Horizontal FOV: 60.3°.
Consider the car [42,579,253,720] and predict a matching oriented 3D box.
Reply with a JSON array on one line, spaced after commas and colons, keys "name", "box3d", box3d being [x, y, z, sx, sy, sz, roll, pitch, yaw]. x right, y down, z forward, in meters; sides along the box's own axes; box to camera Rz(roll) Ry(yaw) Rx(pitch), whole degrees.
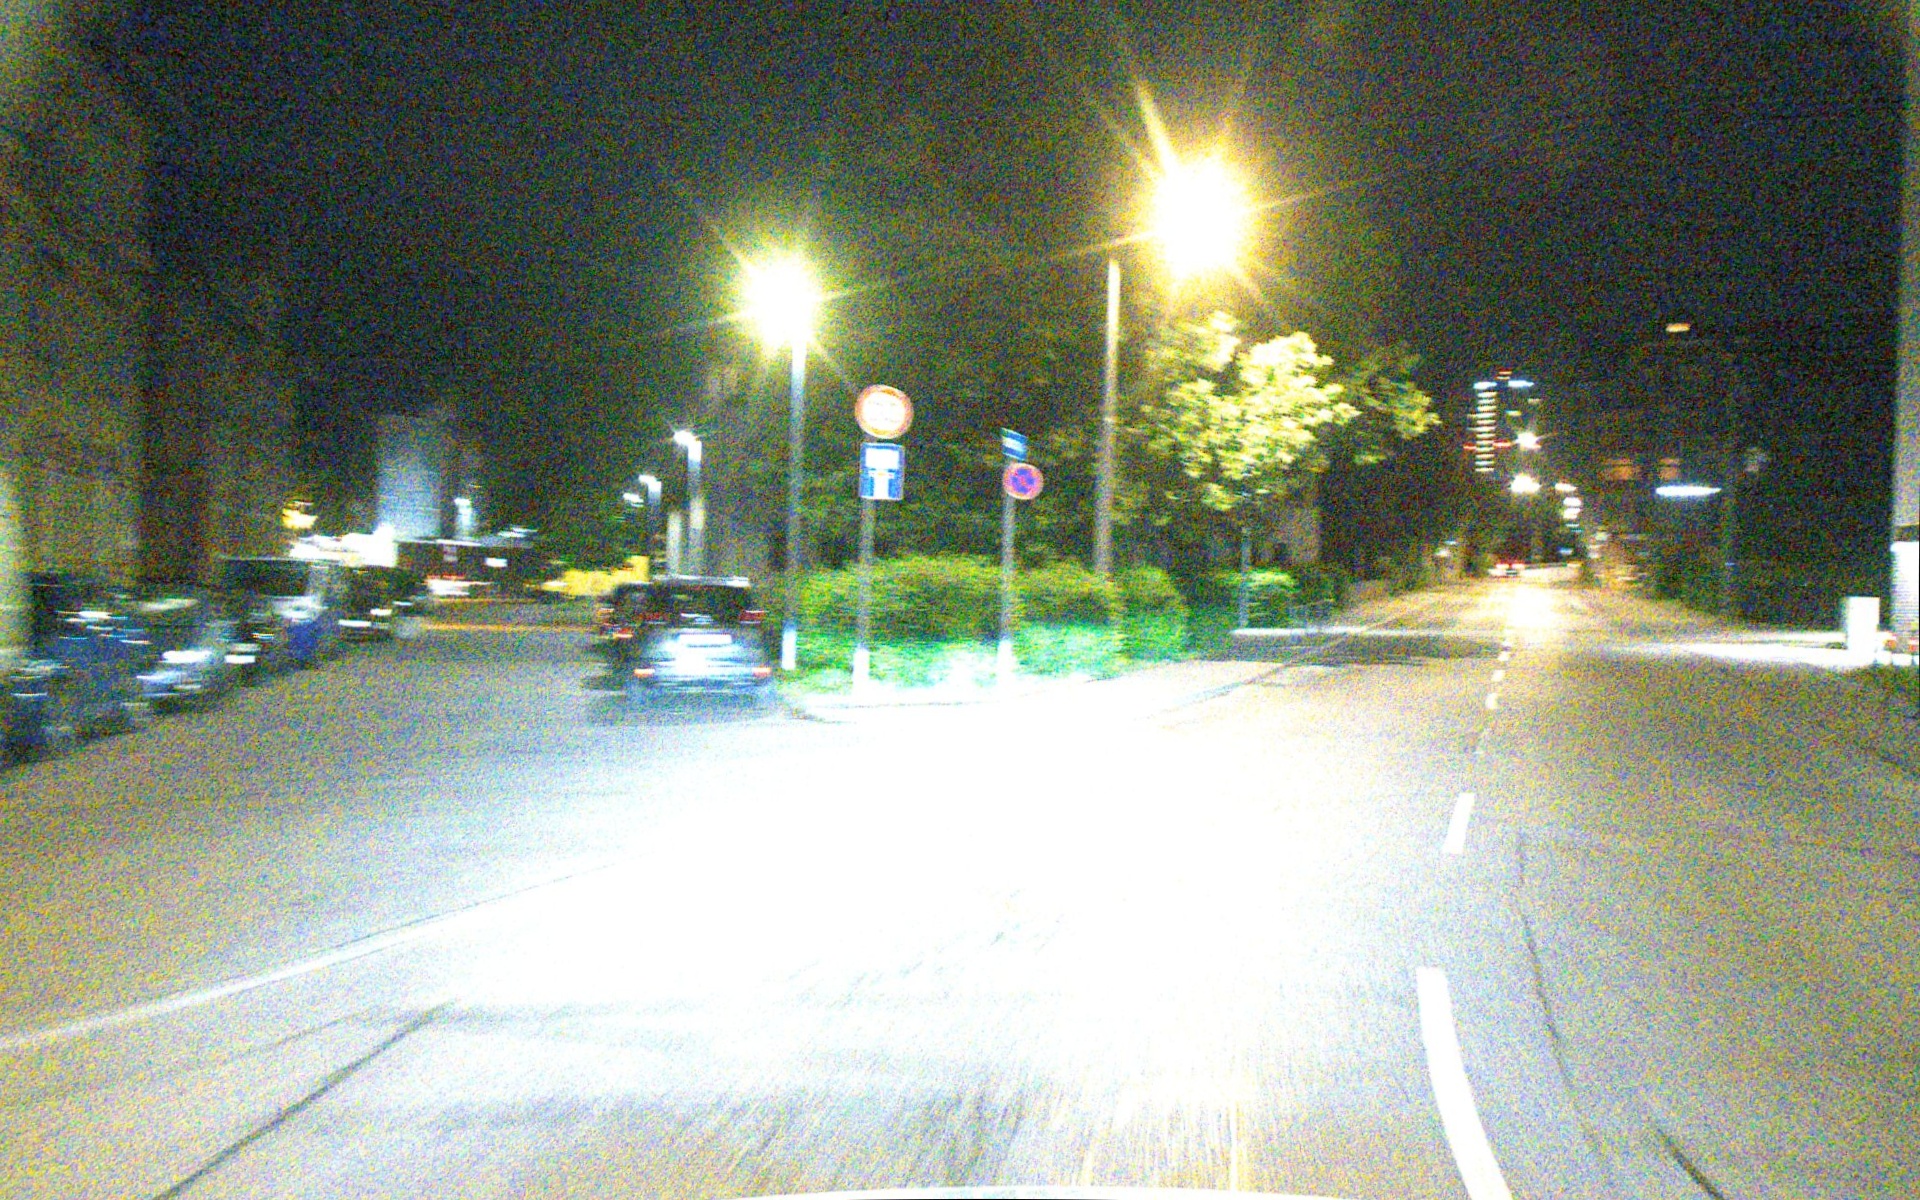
[{"name": "car", "box3d": [-9.946, 0.525, 20.579, 1.811, 1.533, 4.715, 0, 0, -20]}]

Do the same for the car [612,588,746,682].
[{"name": "car", "box3d": [-4.633, 0.531, 26.850, 1.929, 1.407, 3.987, 1, 0, -13]}]

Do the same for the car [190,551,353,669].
[{"name": "car", "box3d": [-12.525, 0.162, 30.377, 1.959, 1.989, 4.789, 1, 0, -13]}]

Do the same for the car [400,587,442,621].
[{"name": "car", "box3d": [-25.153, 0.183, 77.301, 1.580, 1.543, 3.793, 1, 0, -14]}]

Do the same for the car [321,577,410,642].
[{"name": "car", "box3d": [-15.168, 0.249, 42.361, 1.676, 1.536, 4.085, 2, -1, -14]}]

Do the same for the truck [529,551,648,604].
[{"name": "truck", "box3d": [-21.728, -1.315, 96.740, 6.667, 2.894, 1.991, 1, 0, -17]}]

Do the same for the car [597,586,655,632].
[{"name": "car", "box3d": [-11.074, 0.268, 54.703, 1.728, 1.470, 4.011, 0, 0, -14]}]

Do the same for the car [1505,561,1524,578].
[{"name": "car", "box3d": [61.379, -3.365, 183.008, 1.885, 1.886, 4.001, 0, 0, 19]}]

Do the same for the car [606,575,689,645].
[{"name": "car", "box3d": [-8.412, 0.248, 44.191, 2.005, 1.724, 4.866, -1, 0, -13]}]

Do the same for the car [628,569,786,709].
[{"name": "car", "box3d": [-3.393, 0.451, 21.736, 1.851, 1.631, 4.096, -1, 0, -11]}]

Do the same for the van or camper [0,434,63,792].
[{"name": "van or camper", "box3d": [-7.544, 0.119, 9.992, 2.121, 2.580, 6.205, -2, 1, -13]}]

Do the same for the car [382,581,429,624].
[{"name": "car", "box3d": [-23.897, 0.111, 71.374, 1.610, 1.791, 3.949, 1, 0, -14]}]

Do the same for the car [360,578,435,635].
[{"name": "car", "box3d": [-16.304, 0.194, 48.108, 1.648, 1.593, 4.091, 1, 0, -13]}]

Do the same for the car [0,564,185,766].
[{"name": "car", "box3d": [-8.694, 0.517, 15.303, 1.859, 1.618, 4.359, -1, 1, -13]}]

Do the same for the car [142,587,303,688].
[{"name": "car", "box3d": [-11.211, 0.526, 25.381, 1.664, 1.423, 4.061, 1, 0, -16]}]
